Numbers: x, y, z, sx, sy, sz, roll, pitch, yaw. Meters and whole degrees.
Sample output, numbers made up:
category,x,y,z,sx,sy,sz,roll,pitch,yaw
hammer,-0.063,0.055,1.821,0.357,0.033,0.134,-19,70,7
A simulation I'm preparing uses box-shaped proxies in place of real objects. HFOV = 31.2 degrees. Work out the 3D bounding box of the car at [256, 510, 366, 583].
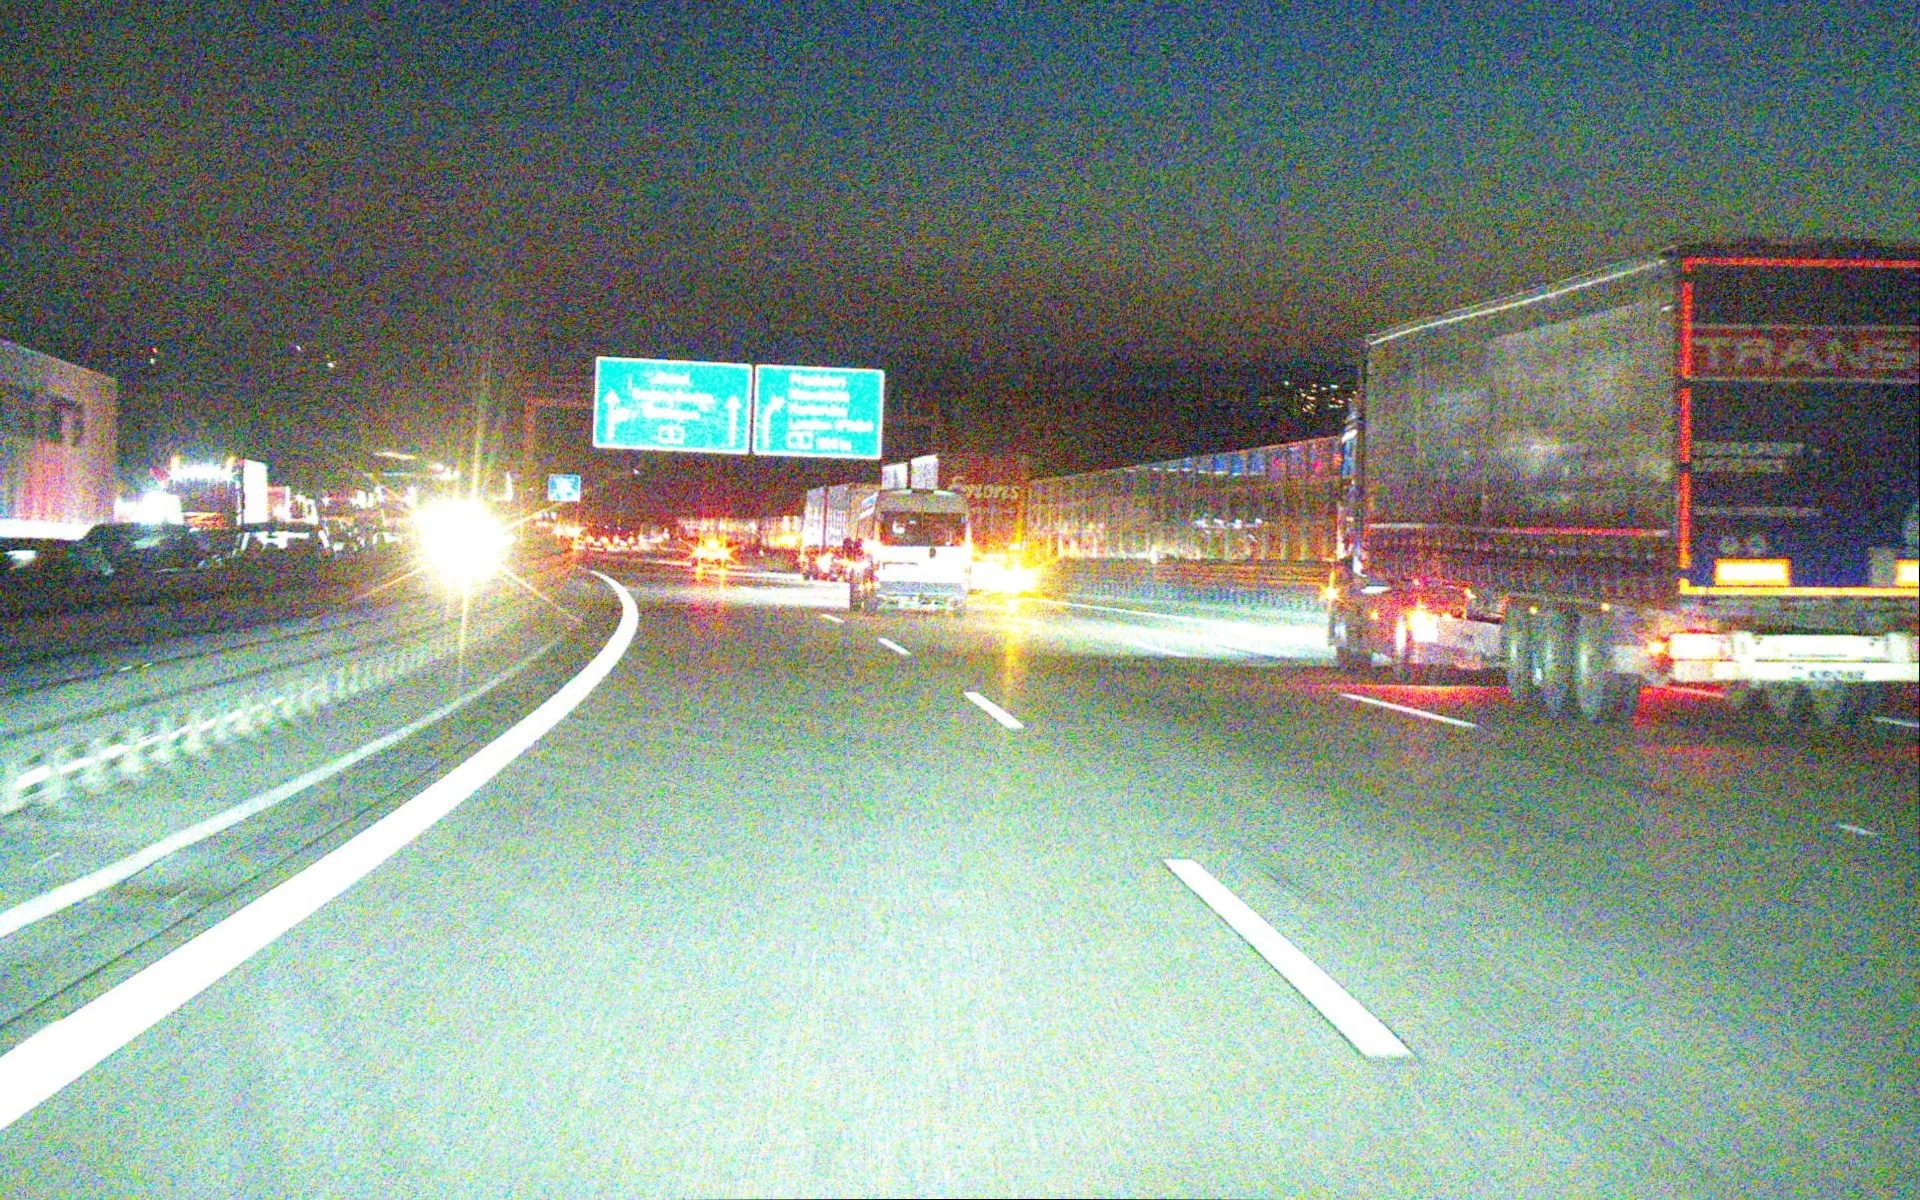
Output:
category,x,y,z,sx,sy,sz,roll,pitch,yaw
car,-12.725,-1.056,67.569,1.570,1.349,4.001,2,1,-3

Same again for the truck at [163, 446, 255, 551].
category,x,y,z,sx,sy,sz,roll,pitch,yaw
truck,-26.527,-3.573,121.654,2.403,3.502,6.725,2,1,-7

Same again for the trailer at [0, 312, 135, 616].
category,x,y,z,sx,sy,sz,roll,pitch,yaw
trailer,-15.017,-1.929,51.706,3.090,4.074,12.451,4,0,-5

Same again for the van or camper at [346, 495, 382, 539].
category,x,y,z,sx,sy,sz,roll,pitch,yaw
van or camper,-36.521,-5.077,210.631,2.083,2.623,7.607,2,1,-10

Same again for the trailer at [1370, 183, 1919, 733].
category,x,y,z,sx,sy,sz,roll,pitch,yaw
trailer,6.382,-1.189,32.074,2.853,4.053,13.207,0,1,-3

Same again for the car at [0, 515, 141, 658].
category,x,y,z,sx,sy,sz,roll,pitch,yaw
car,-9.913,-0.178,36.334,1.702,1.421,4.513,0,1,-4

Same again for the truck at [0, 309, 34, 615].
category,x,y,z,sx,sy,sz,roll,pitch,yaw
truck,-14.314,-1.923,44.306,3.108,4.083,7.077,4,0,-5

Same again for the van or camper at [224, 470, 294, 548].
category,x,y,z,sx,sy,sz,roll,pitch,yaw
van or camper,-30.882,-3.987,151.713,2.432,3.260,7.395,2,1,-8

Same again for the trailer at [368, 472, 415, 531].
category,x,y,z,sx,sy,sz,roll,pitch,yaw
trailer,-39.318,-6.781,237.868,2.884,3.659,12.220,4,0,-9

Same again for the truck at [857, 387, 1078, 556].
category,x,y,z,sx,sy,sz,roll,pitch,yaw
truck,-0.094,-3.687,105.672,3.914,4.611,21.023,0,1,-8

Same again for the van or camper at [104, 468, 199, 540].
category,x,y,z,sx,sy,sz,roll,pitch,yaw
van or camper,-24.268,-2.861,103.398,2.186,2.007,7.644,2,1,-9

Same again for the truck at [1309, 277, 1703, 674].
category,x,y,z,sx,sy,sz,roll,pitch,yaw
truck,6.006,-1.363,39.156,2.861,4.063,7.512,0,1,-3

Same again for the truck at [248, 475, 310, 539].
category,x,y,z,sx,sy,sz,roll,pitch,yaw
truck,-34.582,-4.698,174.746,2.555,2.975,7.454,2,0,-8

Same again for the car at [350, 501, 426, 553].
category,x,y,z,sx,sy,sz,roll,pitch,yaw
car,-15.581,-1.985,93.765,1.570,1.349,4.001,2,1,-3

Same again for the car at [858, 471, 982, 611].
category,x,y,z,sx,sy,sz,roll,pitch,yaw
car,-0.832,-1.143,69.920,2.337,2.631,5.247,2,0,-1

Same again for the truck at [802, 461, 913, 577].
category,x,y,z,sx,sy,sz,roll,pitch,yaw
truck,-4.445,-3.440,145.529,3.343,4.460,13.913,3,1,-6

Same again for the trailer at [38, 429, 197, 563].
category,x,y,z,sx,sy,sz,roll,pitch,yaw
trailer,-22.335,-2.680,91.572,2.605,3.165,9.005,4,0,-5

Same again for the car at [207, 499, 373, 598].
category,x,y,z,sx,sy,sz,roll,pitch,yaw
car,-11.124,-0.875,57.351,1.874,1.421,4.513,5,1,-2

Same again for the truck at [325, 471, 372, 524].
category,x,y,z,sx,sy,sz,roll,pitch,yaw
truck,-44.238,-7.433,248.519,2.873,3.661,6.053,3,1,-13

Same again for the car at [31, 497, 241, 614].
category,x,y,z,sx,sy,sz,roll,pitch,yaw
car,-11.265,-0.630,47.306,1.843,1.421,4.513,3,1,-2

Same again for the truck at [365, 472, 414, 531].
category,x,y,z,sx,sy,sz,roll,pitch,yaw
truck,-38.406,-6.587,231.568,2.873,3.661,6.782,4,0,-9
